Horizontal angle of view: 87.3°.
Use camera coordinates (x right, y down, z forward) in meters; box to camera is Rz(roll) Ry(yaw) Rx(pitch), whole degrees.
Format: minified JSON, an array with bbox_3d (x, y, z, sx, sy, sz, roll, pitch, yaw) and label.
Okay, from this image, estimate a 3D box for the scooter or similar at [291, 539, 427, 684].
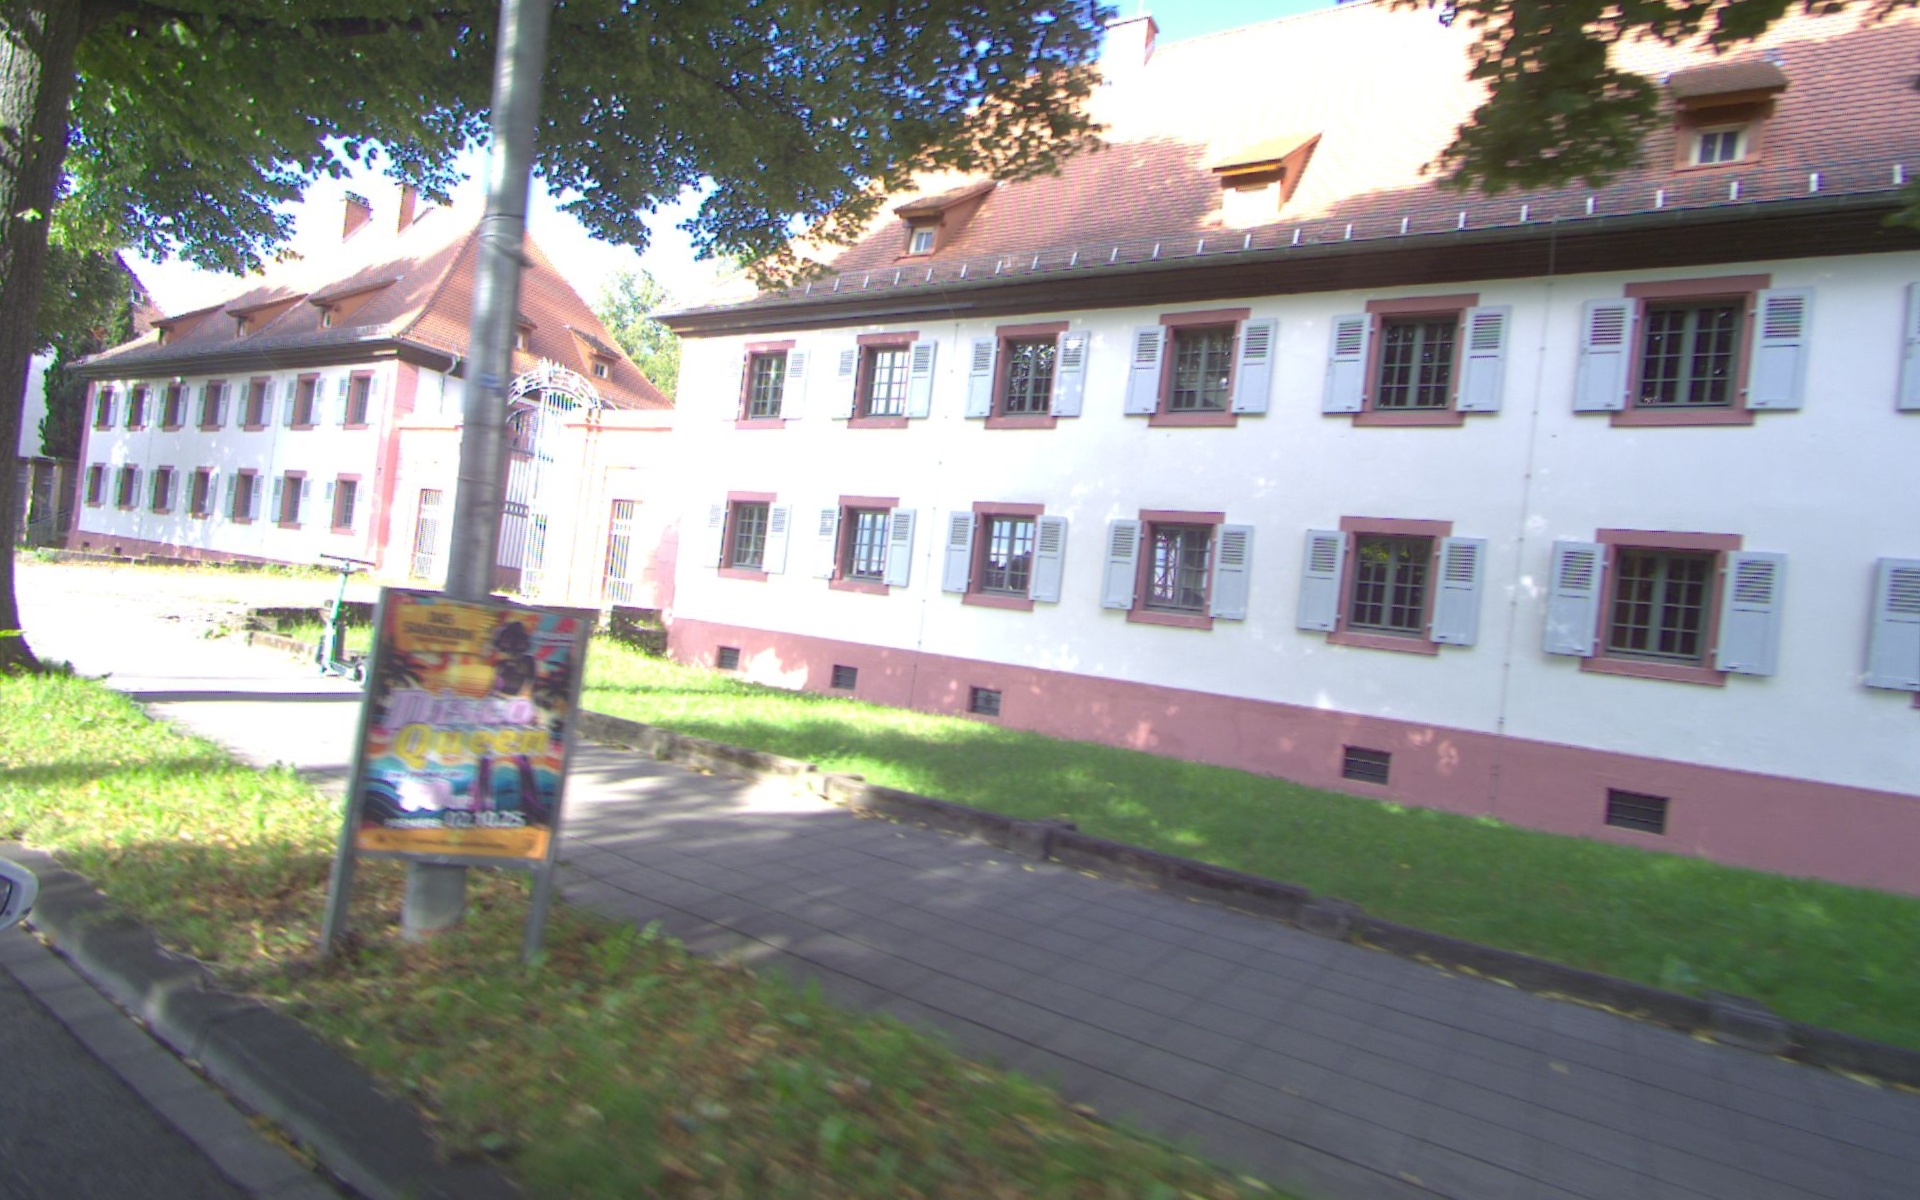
[{"bbox_3d":[-6.090,0.108,10.174,1.359,1.308,0.579,7,1,34],"label":"scooter or similar"}]
